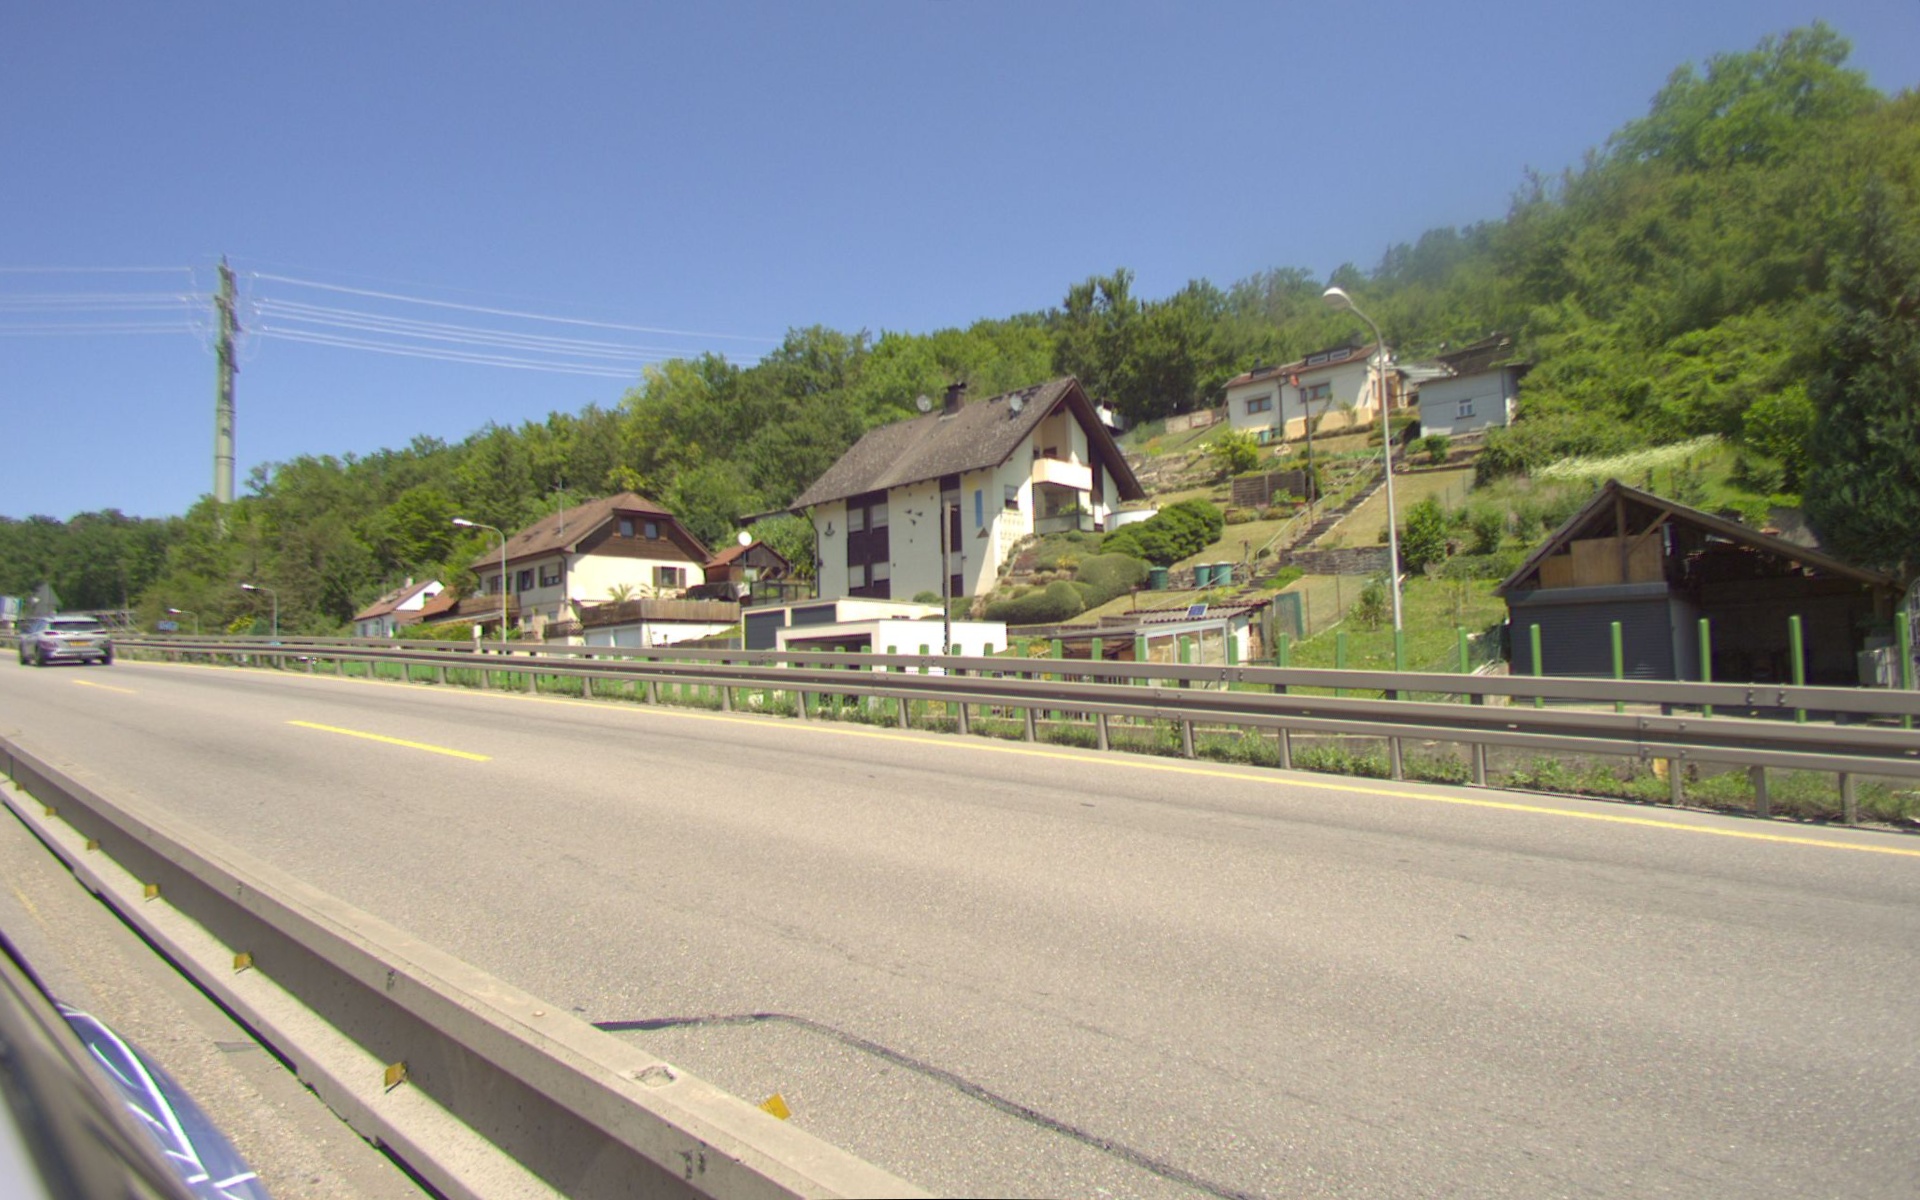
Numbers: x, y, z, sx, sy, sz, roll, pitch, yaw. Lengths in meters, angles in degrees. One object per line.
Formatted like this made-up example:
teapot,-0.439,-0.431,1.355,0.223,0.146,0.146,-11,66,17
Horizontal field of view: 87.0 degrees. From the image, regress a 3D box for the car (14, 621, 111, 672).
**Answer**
car,-28.276,1.423,31.851,3.970,1.490,1.685,-1,-1,40
